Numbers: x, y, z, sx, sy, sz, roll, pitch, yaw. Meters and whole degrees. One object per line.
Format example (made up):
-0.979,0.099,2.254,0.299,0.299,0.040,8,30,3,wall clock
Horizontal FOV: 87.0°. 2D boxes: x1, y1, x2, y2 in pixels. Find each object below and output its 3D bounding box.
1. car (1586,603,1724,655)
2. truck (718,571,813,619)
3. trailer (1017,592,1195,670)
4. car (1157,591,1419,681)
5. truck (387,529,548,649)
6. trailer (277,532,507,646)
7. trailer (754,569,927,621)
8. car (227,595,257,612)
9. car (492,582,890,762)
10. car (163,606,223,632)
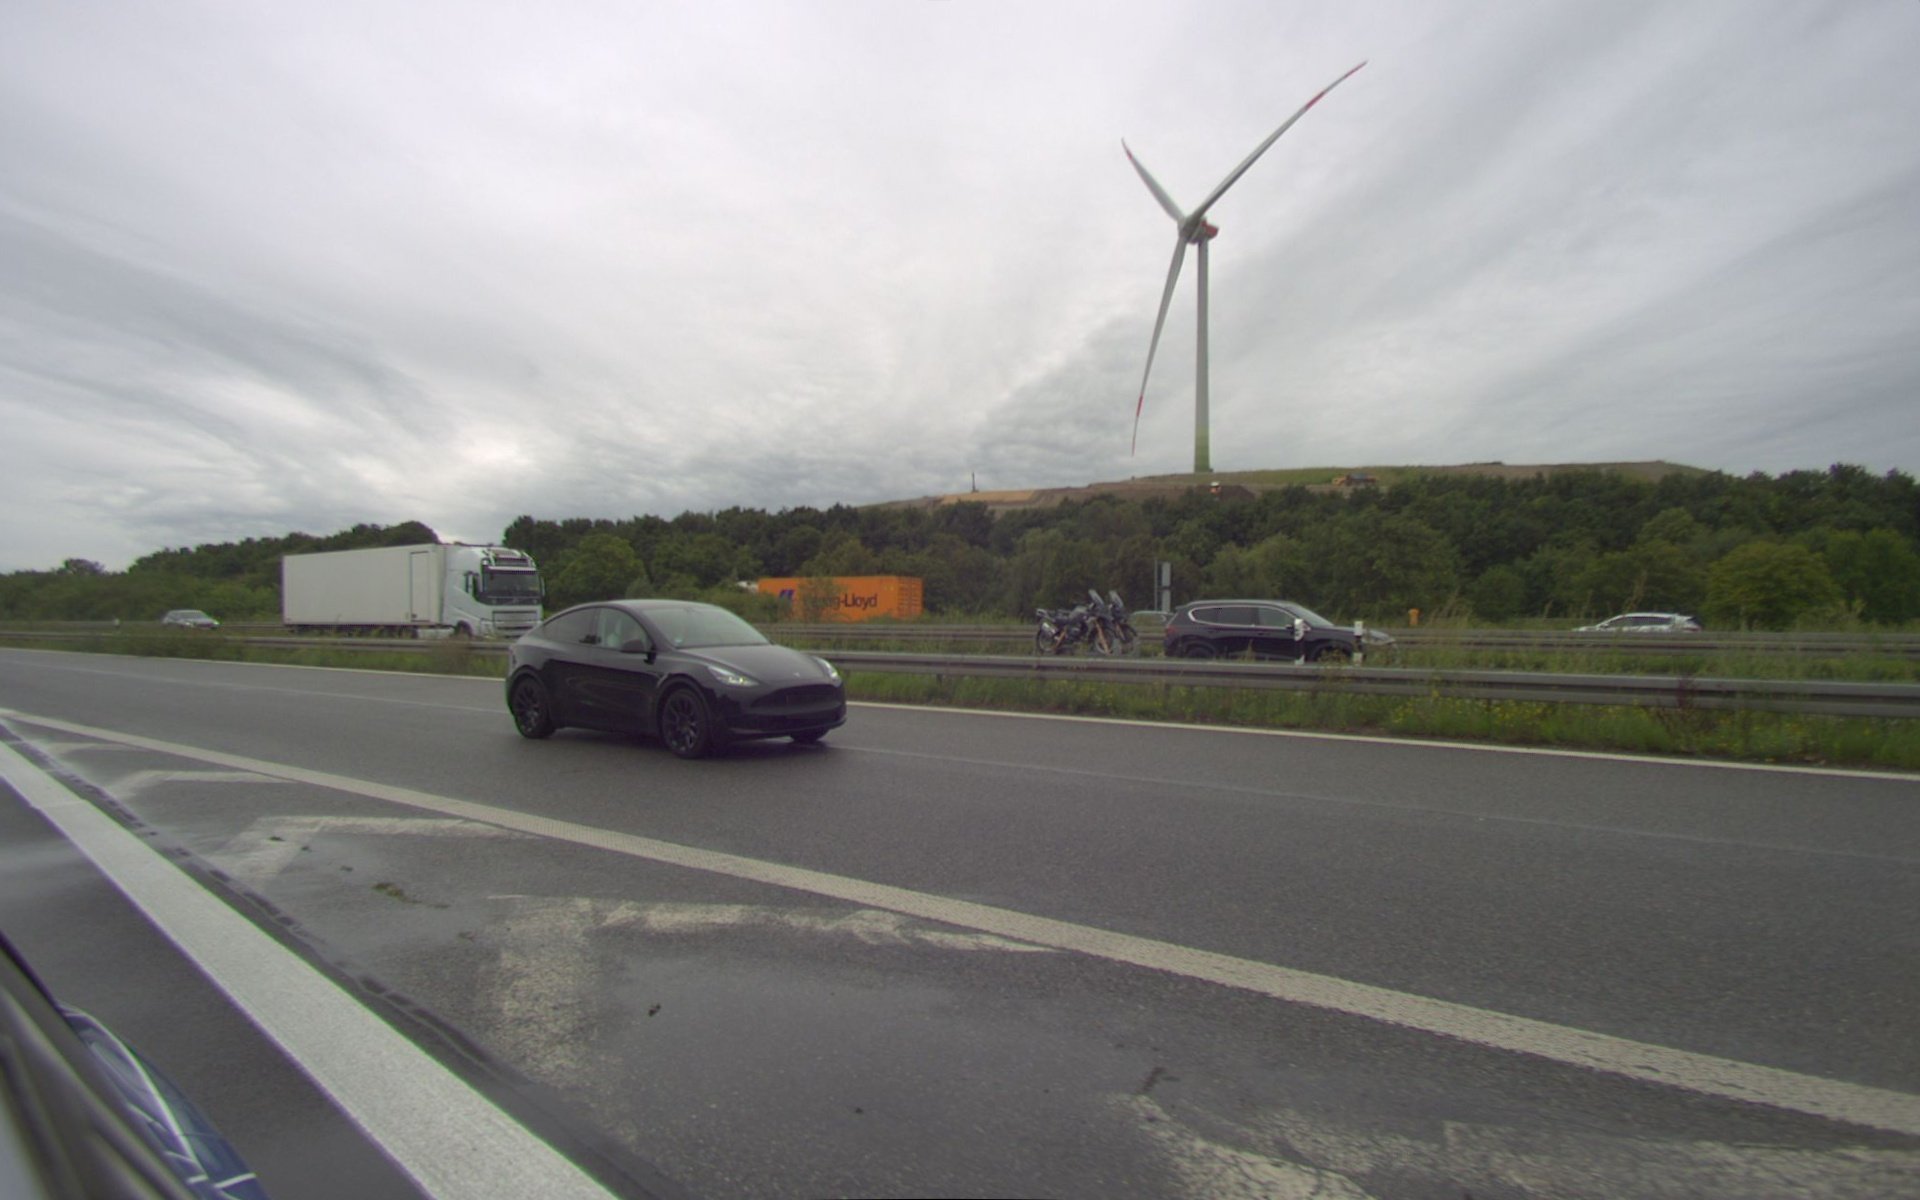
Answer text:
25.134,0.987,36.646,3.996,1.741,1.833,0,1,39,car
-13.303,-0.339,68.973,6.441,3.096,2.661,0,1,36,truck
3.317,0.649,23.222,3.604,1.638,1.865,0,1,36,trailer
6.654,0.650,20.766,4.798,1.638,1.865,0,1,36,car
-18.652,-0.349,38.166,6.432,4.166,2.742,-1,0,36,truck
-23.917,-0.350,41.987,13.923,4.166,2.742,-1,0,36,trailer
-7.908,-0.339,65.049,12.541,3.096,2.661,0,1,36,trailer
-84.206,0.427,118.717,3.992,1.898,1.683,0,1,36,car
-3.148,0.648,11.421,4.546,1.650,1.944,0,1,37,car
-50.485,1.215,66.611,4.475,1.663,1.882,-1,0,35,car
